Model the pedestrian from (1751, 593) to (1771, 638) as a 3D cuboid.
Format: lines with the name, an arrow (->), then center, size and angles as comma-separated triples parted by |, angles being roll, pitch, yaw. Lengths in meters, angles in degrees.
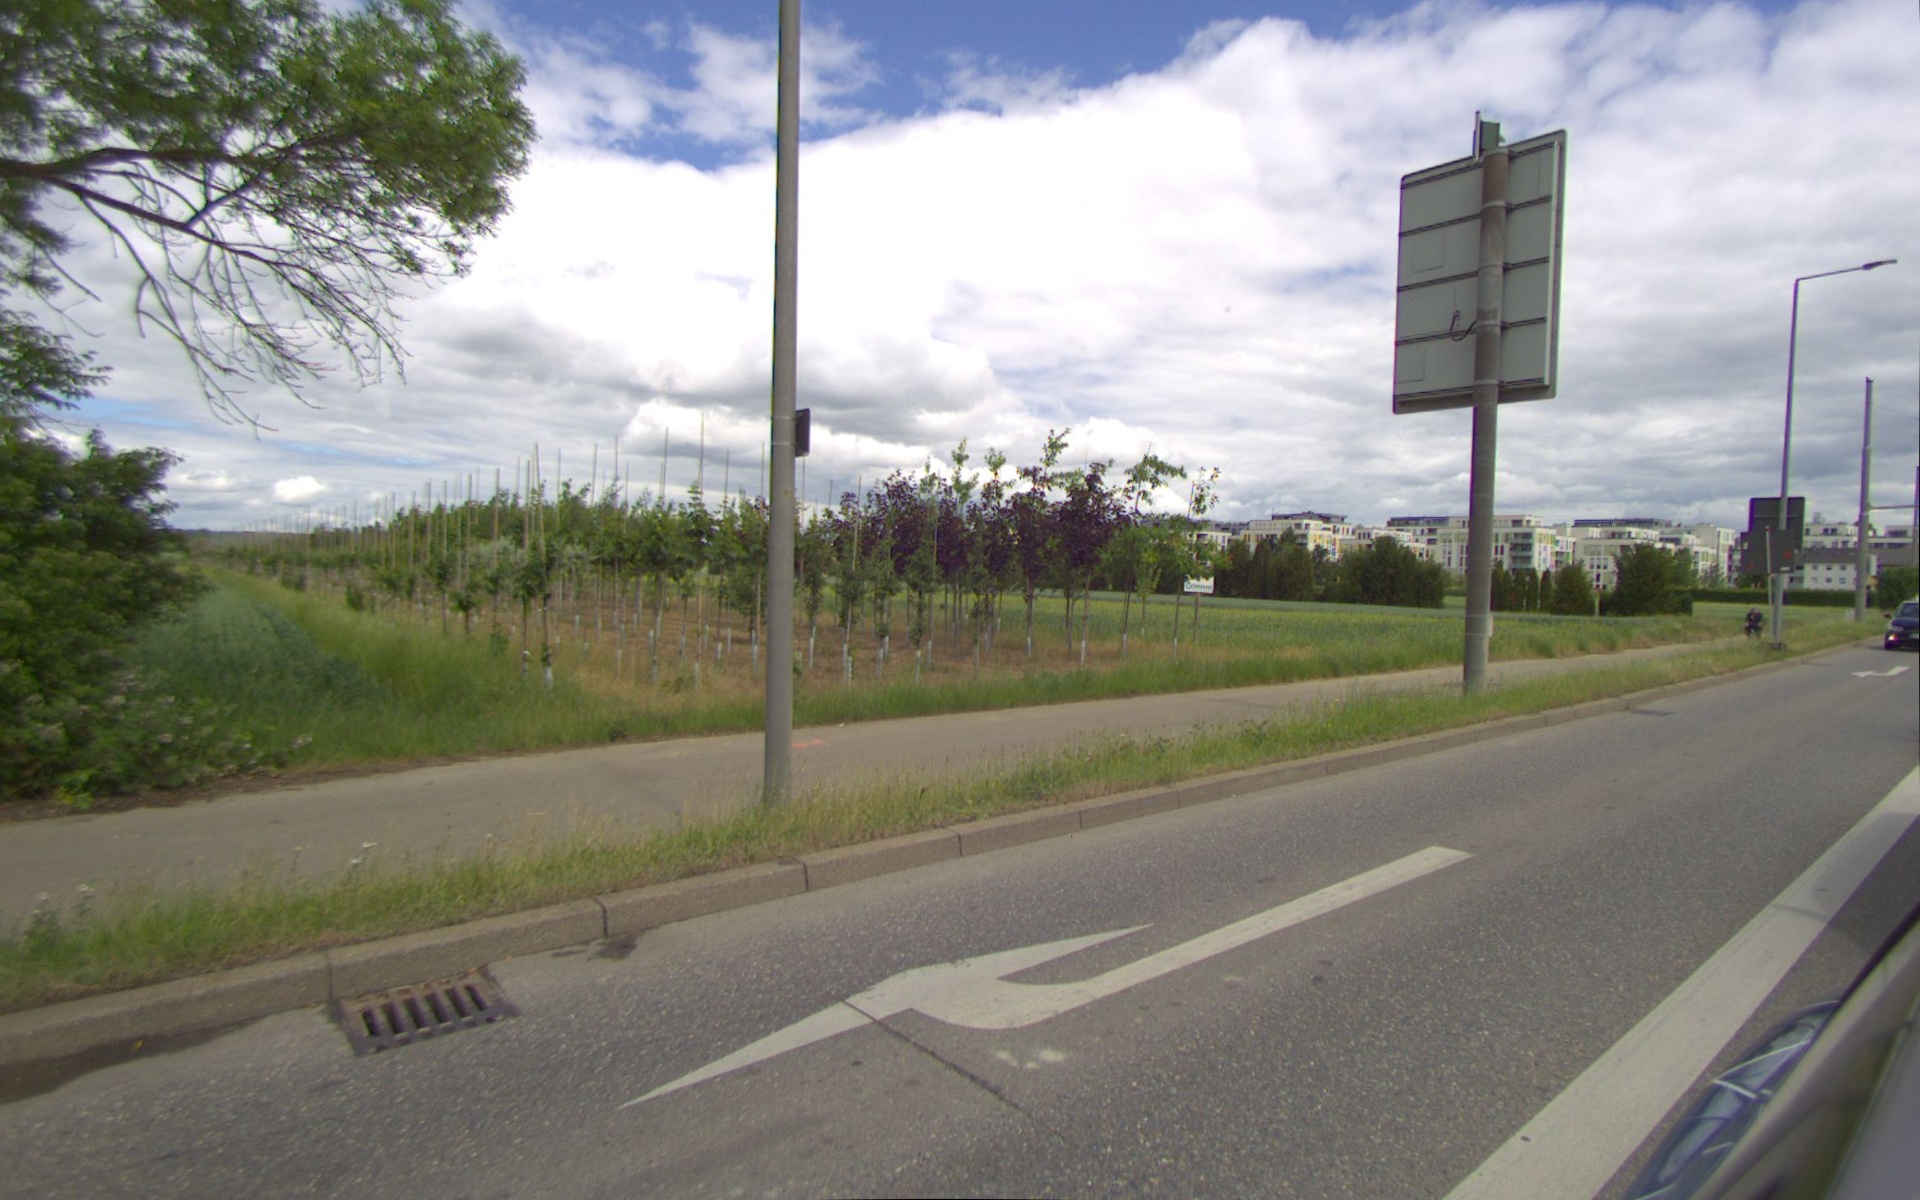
pedestrian -> 30.969, 0.585, 39.135 | 0.615, 1.724, 0.492 | 0, 0, -42

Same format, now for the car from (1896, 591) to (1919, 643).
car -> 28.365, 0.484, 29.180 | 3.676, 1.436, 1.681 | -1, 2, -42
